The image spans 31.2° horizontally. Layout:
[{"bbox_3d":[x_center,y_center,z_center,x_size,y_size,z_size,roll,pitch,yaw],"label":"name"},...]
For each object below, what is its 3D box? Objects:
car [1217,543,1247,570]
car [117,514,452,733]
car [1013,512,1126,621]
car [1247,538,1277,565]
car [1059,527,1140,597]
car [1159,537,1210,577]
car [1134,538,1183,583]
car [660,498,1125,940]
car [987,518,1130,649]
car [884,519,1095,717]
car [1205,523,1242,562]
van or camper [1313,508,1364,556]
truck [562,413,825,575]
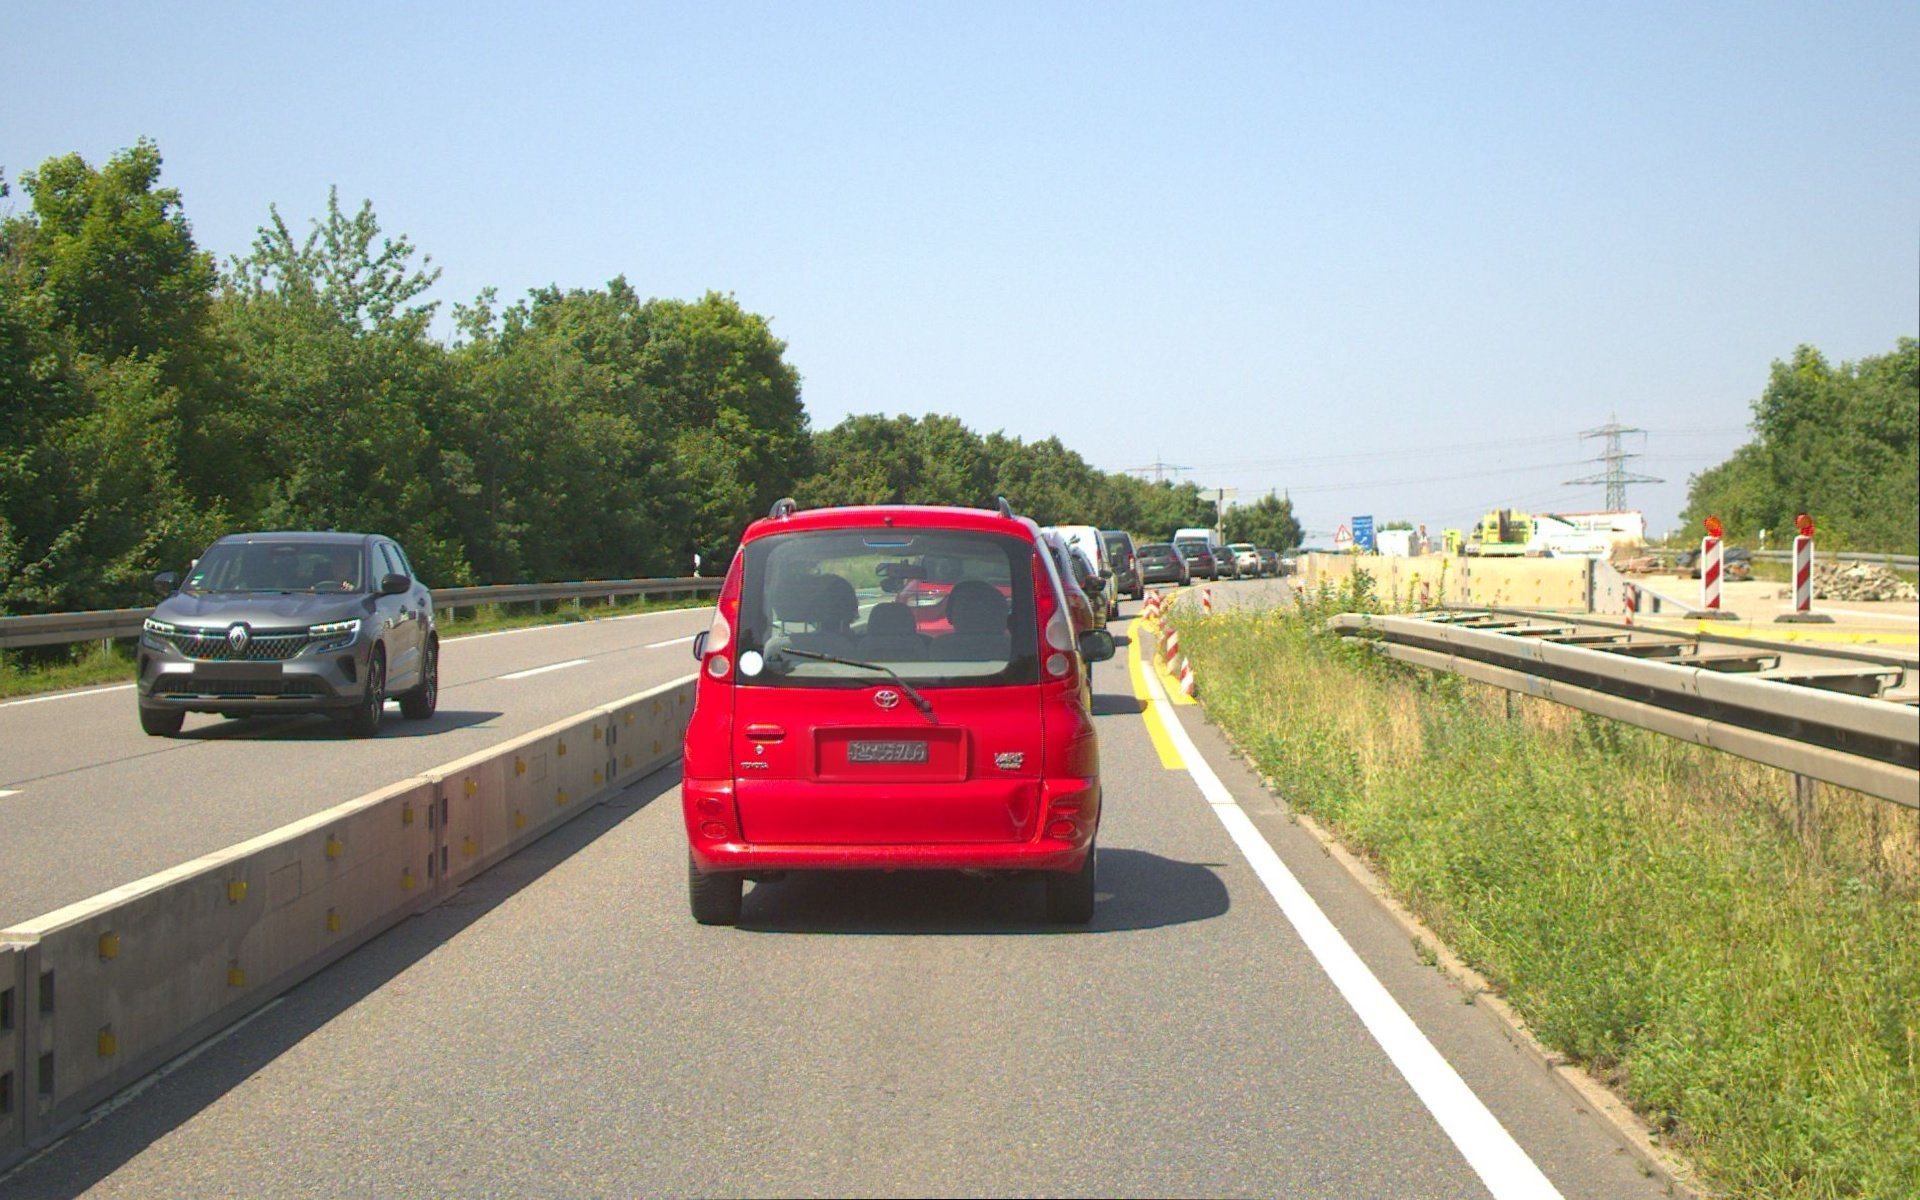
[{"bbox_3d":[13.262,-2.148,167.963,1.421,1.294,2.879,0,1,4],"label":"car"},{"bbox_3d":[-5.429,0.143,28.164,1.857,1.632,4.384,1,1,0],"label":"car"},{"bbox_3d":[2.069,-0.656,65.912,1.993,1.997,4.000,1,1,0],"label":"car"},{"bbox_3d":[15.973,-2.569,181.701,1.502,1.446,3.170,0,1,4],"label":"car"},{"bbox_3d":[3.583,-0.993,88.580,1.993,1.744,4.000,1,1,2],"label":"car"},{"bbox_3d":[9.041,-1.752,138.251,1.994,1.579,3.999,0,1,5],"label":"car"},{"bbox_3d":[6.624,-1.323,114.856,1.502,1.446,3.325,-1,1,1],"label":"car"},{"bbox_3d":[-0.268,0.422,14.975,1.751,1.667,4.000,0,1,0],"label":"car"},{"bbox_3d":[1.468,-0.268,50.112,1.994,1.831,4.000,0,1,3],"label":"car"},{"bbox_3d":[0.308,0.120,31.975,1.830,1.716,4.000,0,1,1],"label":"car"},{"bbox_3d":[11.613,-2.538,151.655,1.502,1.730,3.170,0,1,2],"label":"car"},{"bbox_3d":[21.839,-3.920,198.645,2.328,2.697,4.593,-1,1,-1],"label":"van or camper"},{"bbox_3d":[-9.202,-3.666,119.430,8.621,5.357,3.389,-1,1,3],"label":"truck"}]
